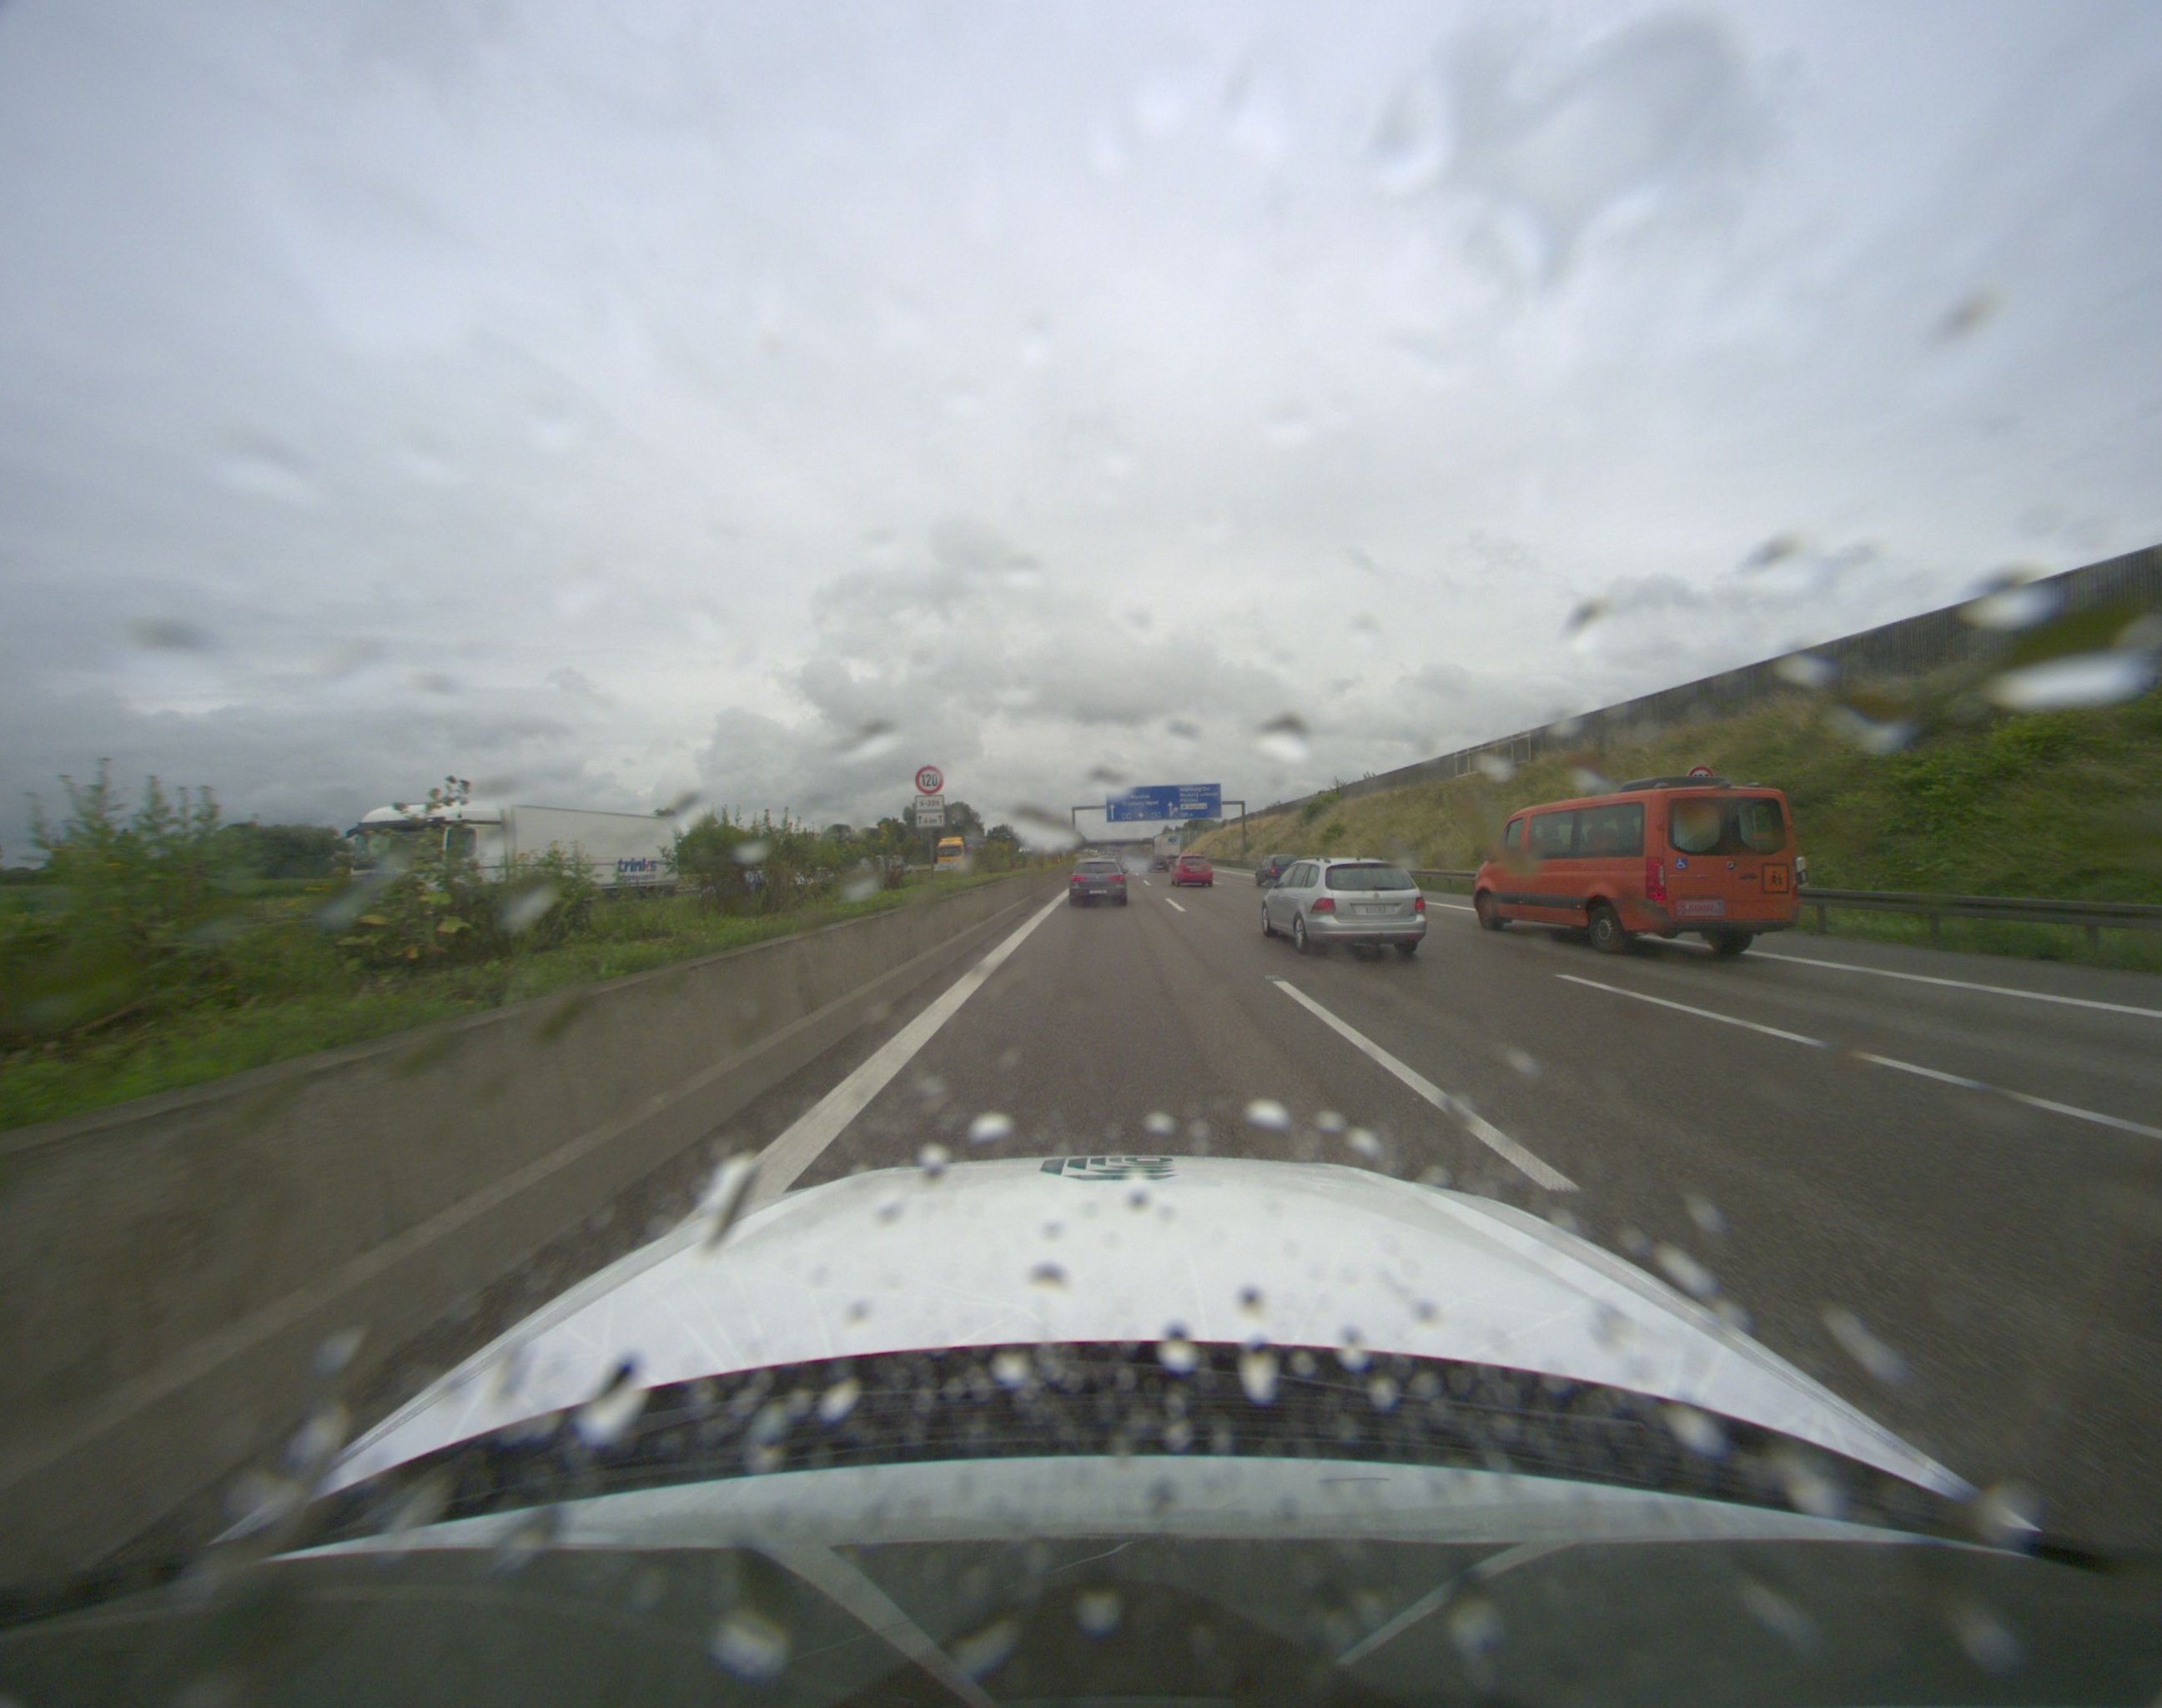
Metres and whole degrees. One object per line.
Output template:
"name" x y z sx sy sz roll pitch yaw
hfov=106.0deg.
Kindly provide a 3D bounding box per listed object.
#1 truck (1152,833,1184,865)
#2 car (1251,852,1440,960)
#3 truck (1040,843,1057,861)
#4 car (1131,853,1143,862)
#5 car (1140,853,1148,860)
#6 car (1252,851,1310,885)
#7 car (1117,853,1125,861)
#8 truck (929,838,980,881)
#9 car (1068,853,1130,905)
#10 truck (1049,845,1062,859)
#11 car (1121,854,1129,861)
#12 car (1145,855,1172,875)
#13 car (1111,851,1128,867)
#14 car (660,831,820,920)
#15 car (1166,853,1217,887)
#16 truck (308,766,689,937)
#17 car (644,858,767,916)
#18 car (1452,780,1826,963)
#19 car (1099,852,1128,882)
"truck" 12.497 -0.657 118.805 3.270 4.295 19.042 0 0 2
"car" 4.084 0.709 13.404 1.735 1.425 4.518 -2 0 2
"truck" -8.249 -0.442 206.342 3.601 4.274 7.596 0 -1 3
"car" 9.966 0.634 145.707 1.839 1.687 4.000 0 0 0
"car" 17.365 0.730 224.333 1.987 1.860 4.390 -2 0 0
"car" 8.727 0.611 35.808 1.696 1.401 3.877 0 0 2
"car" 9.613 0.755 195.980 1.985 2.014 4.244 0 0 2
"truck" -13.599 0.554 88.600 3.399 4.364 10.997 0 0 2
"car" 0.542 0.729 25.184 1.762 1.467 4.000 0 0 1
"truck" -5.564 -0.354 177.816 2.302 2.908 7.429 0 0 3
"car" 12.812 1.036 237.426 1.988 2.013 3.998 -2 0 -1
"car" 6.369 0.910 67.186 1.914 1.522 4.624 -1 0 2
"car" 4.538 0.600 96.138 1.699 1.796 3.855 -3 0 1
"car" -8.807 0.502 21.577 1.986 2.013 4.838 -2 0 2
"car" 5.189 0.706 38.759 1.884 1.446 4.686 -1 0 1
"truck" -16.194 -0.025 24.387 3.171 3.967 10.818 0 0 3
"car" -11.698 0.971 25.714 1.860 1.596 4.002 -2 0 2
"car" 8.622 0.220 13.617 2.078 2.315 6.182 -1 0 1
"car" 1.984 0.776 50.196 1.747 1.750 4.001 0 0 2
